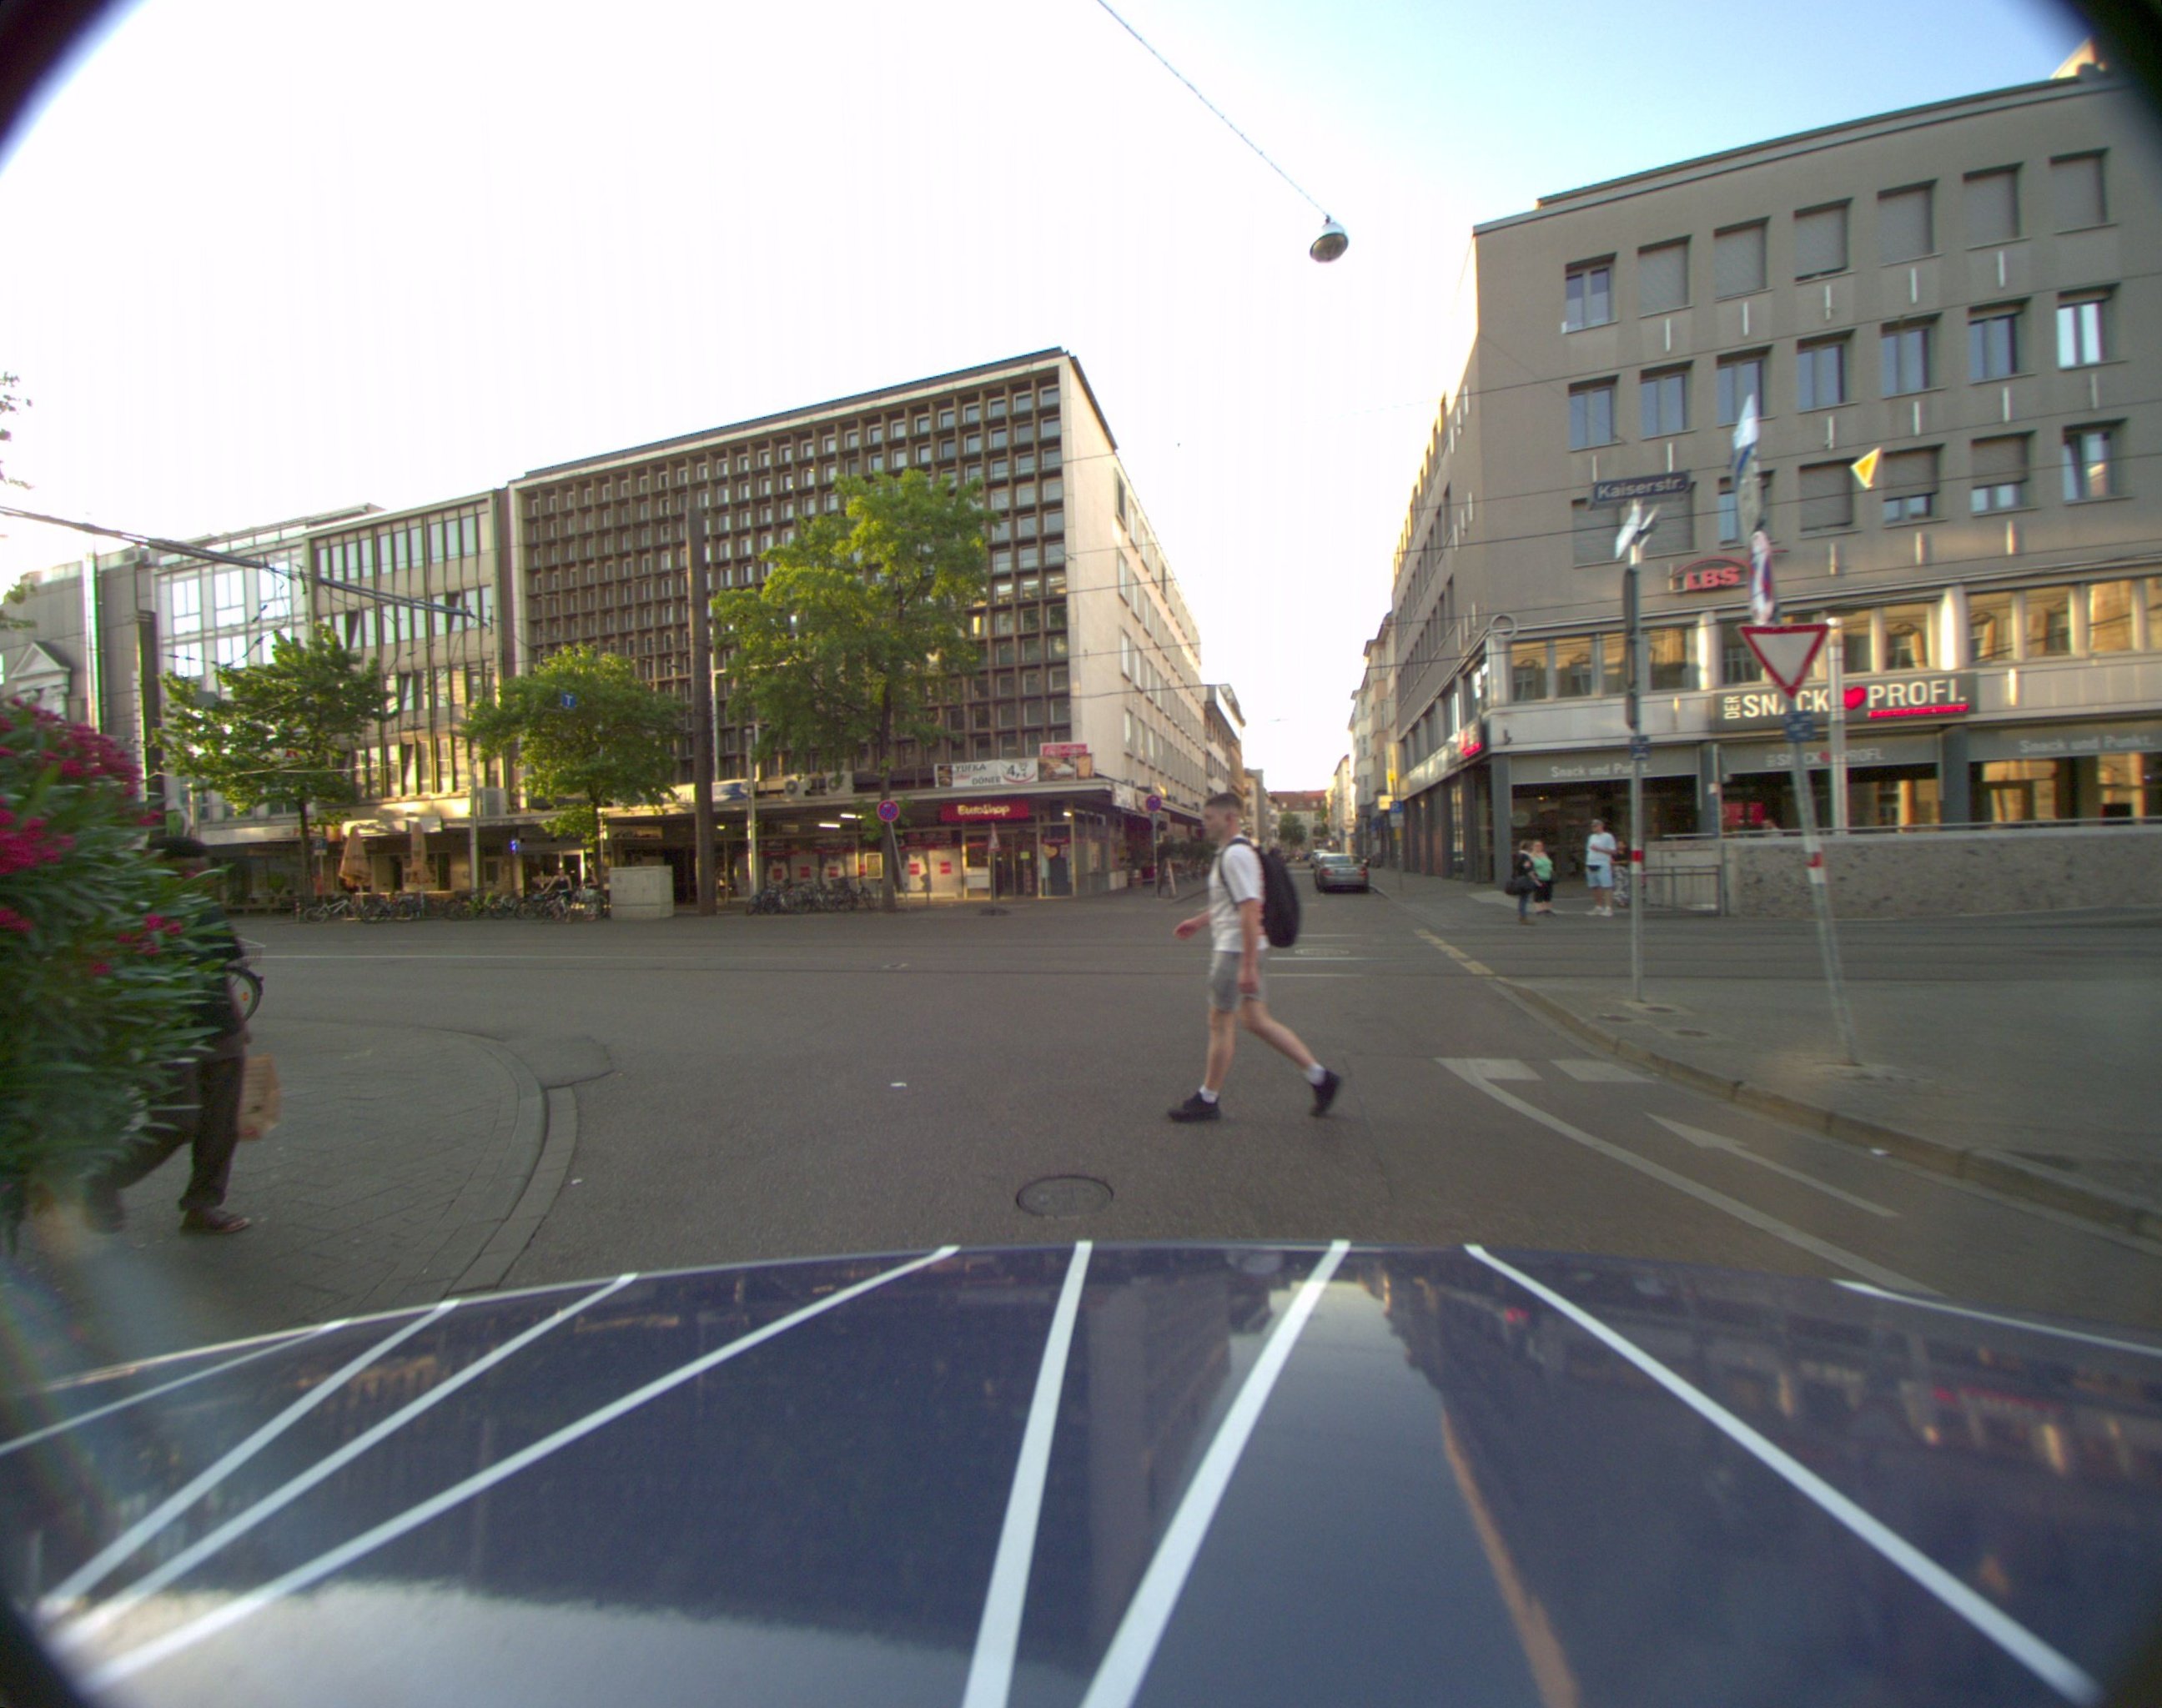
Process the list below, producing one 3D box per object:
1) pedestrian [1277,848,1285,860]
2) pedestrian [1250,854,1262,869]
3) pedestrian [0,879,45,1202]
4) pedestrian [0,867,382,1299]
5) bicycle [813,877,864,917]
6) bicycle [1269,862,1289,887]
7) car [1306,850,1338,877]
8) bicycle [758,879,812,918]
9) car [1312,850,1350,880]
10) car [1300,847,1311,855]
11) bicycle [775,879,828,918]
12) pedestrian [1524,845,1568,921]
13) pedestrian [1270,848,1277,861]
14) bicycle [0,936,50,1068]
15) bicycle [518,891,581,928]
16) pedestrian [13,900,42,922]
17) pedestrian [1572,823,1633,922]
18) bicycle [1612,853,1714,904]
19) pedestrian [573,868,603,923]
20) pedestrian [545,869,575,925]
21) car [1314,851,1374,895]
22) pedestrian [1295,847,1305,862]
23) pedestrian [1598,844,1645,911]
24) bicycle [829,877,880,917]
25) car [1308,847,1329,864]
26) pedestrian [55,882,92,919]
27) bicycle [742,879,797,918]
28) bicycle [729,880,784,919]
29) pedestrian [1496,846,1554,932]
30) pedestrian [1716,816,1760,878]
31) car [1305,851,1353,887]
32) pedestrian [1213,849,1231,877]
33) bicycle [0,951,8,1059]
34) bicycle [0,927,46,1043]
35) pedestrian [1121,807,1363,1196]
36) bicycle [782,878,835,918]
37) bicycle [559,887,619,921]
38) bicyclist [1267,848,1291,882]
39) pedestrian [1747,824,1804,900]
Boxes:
[{"bbox_3d":[27.858,0.045,105.930,0.976,1.651,0.979,-3,0,17],"label":"pedestrian"},{"bbox_3d":[21.144,0.896,91.901,1.297,1.651,1.015,-2,0,19],"label":"pedestrian"},{"bbox_3d":[-6.113,0.985,3.808,0.809,1.684,0.806,-2,-1,13],"label":"pedestrian"},{"bbox_3d":[-4.059,0.936,3.449,0.996,1.688,0.773,-2,1,8],"label":"pedestrian"},{"bbox_3d":[-7.295,1.280,22.921,0.488,1.039,1.779,-3,1,17],"label":"bicycle"},{"bbox_3d":[9.191,0.924,35.163,0.816,1.067,2.116,-2,-1,15],"label":"bicycle"},{"bbox_3d":[14.923,0.566,47.117,1.796,1.501,4.005,-1,0,18],"label":"car"},{"bbox_3d":[-9.100,1.358,23.435,0.488,1.039,1.779,-3,1,17],"label":"bicycle"},{"bbox_3d":[13.395,0.552,40.791,1.796,1.501,4.005,-1,0,18],"label":"car"},{"bbox_3d":[42.005,-0.588,142.177,1.796,1.501,4.005,-1,0,18],"label":"car"},{"bbox_3d":[-8.540,1.340,23.294,0.488,1.039,1.779,-3,1,17],"label":"bicycle"},{"bbox_3d":[9.386,0.575,15.344,0.554,1.485,0.606,-1,0,9],"label":"pedestrian"},{"bbox_3d":[26.941,0.073,106.272,0.869,1.651,0.932,-3,0,17],"label":"pedestrian"},{"bbox_3d":[-10.681,1.391,6.581,0.762,1.215,1.924,-2,-2,12],"label":"bicycle"},{"bbox_3d":[-16.288,1.714,23.293,1.774,1.039,0.490,-3,1,14],"label":"bicycle"},{"bbox_3d":[-56.794,3.077,40.963,0.664,1.150,0.643,-1,3,15],"label":"pedestrian"},{"bbox_3d":[10.349,0.364,15.101,0.708,1.915,0.776,-1,0,9],"label":"pedestrian"},{"bbox_3d":[13.676,0.587,17.913,1.796,1.101,0.501,-4,0,22],"label":"bicycle"},{"bbox_3d":[-15.499,1.293,23.877,0.604,1.689,0.534,-4,1,-44],"label":"pedestrian"},{"bbox_3d":[-16.162,1.319,23.583,0.604,1.689,0.534,-4,1,-44],"label":"pedestrian"},{"bbox_3d":[9.981,0.674,29.042,1.797,1.501,4.137,-1,0,14],"label":"car"},{"bbox_3d":[25.916,0.035,89.824,0.869,1.651,0.932,-2,0,32],"label":"pedestrian"},{"bbox_3d":[11.908,0.509,16.753,0.556,1.425,0.683,-2,0,-35],"label":"pedestrian"},{"bbox_3d":[-6.750,1.258,22.721,0.488,1.039,1.779,-3,1,17],"label":"bicycle"},{"bbox_3d":[22.686,0.100,72.596,1.796,1.501,4.005,-1,0,18],"label":"car"},{"bbox_3d":[-50.669,2.356,38.218,0.988,1.783,0.687,-2,3,17],"label":"pedestrian"},{"bbox_3d":[-9.646,1.375,23.599,0.488,1.039,1.779,-3,1,17],"label":"bicycle"},{"bbox_3d":[-10.114,1.402,23.742,0.488,1.039,1.779,-3,1,17],"label":"bicycle"},{"bbox_3d":[8.210,0.629,14.052,0.606,1.533,0.685,-1,0,-26],"label":"pedestrian"},{"bbox_3d":[18.806,-0.198,21.758,0.708,1.715,0.717,-1,0,15],"label":"pedestrian"},{"bbox_3d":[11.318,0.626,34.881,1.797,1.501,4.137,-1,0,14],"label":"car"},{"bbox_3d":[8.668,0.527,46.651,0.869,1.651,0.932,-3,0,19],"label":"pedestrian"},{"bbox_3d":[-11.391,1.495,6.796,0.762,1.071,1.924,-2,-2,12],"label":"bicycle"},{"bbox_3d":[-13.017,1.521,8.276,0.724,1.324,1.924,-2,-2,12],"label":"bicycle"},{"bbox_3d":[0.816,0.712,4.199,1.042,1.852,1.016,-2,1,-2],"label":"pedestrian"},{"bbox_3d":[-8.309,1.327,23.222,0.488,1.039,1.779,-3,1,17],"label":"bicycle"},{"bbox_3d":[-16.041,1.626,24.777,1.774,1.039,0.490,-3,1,14],"label":"bicycle"},{"bbox_3d":[9.109,0.514,34.913,0.998,1.493,0.858,-2,0,15],"label":"bicyclist"},{"bbox_3d":[15.981,0.183,17.505,0.708,1.715,0.717,-1,0,15],"label":"pedestrian"}]
